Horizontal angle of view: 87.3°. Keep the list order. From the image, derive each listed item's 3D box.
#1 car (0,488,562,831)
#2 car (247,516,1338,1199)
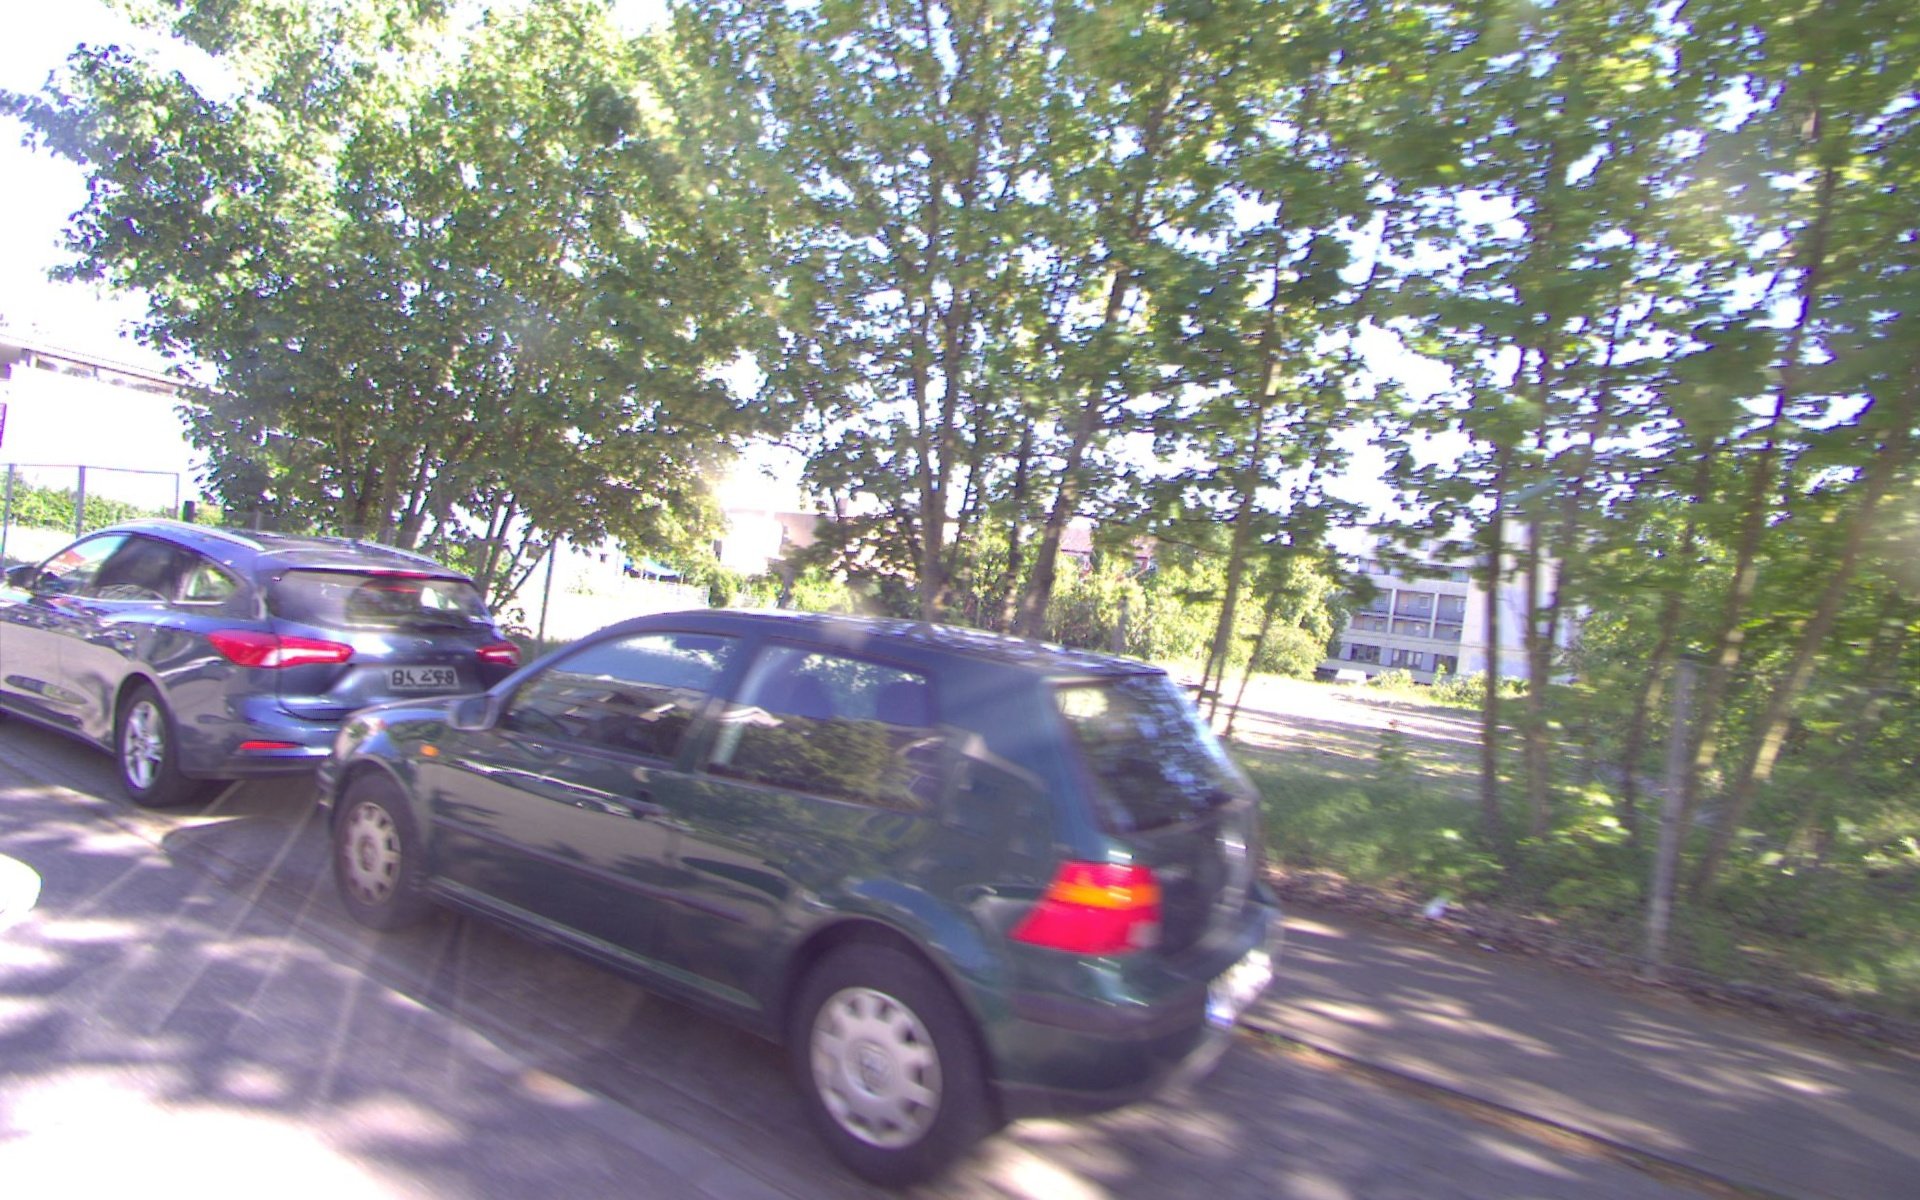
[{"bbox_3d":[-4.756,0.197,6.436,4.365,1.455,1.679,6,-1,31],"label":"car"},{"bbox_3d":[-0.829,0.641,4.039,4.002,1.489,1.827,6,-1,32],"label":"car"}]
